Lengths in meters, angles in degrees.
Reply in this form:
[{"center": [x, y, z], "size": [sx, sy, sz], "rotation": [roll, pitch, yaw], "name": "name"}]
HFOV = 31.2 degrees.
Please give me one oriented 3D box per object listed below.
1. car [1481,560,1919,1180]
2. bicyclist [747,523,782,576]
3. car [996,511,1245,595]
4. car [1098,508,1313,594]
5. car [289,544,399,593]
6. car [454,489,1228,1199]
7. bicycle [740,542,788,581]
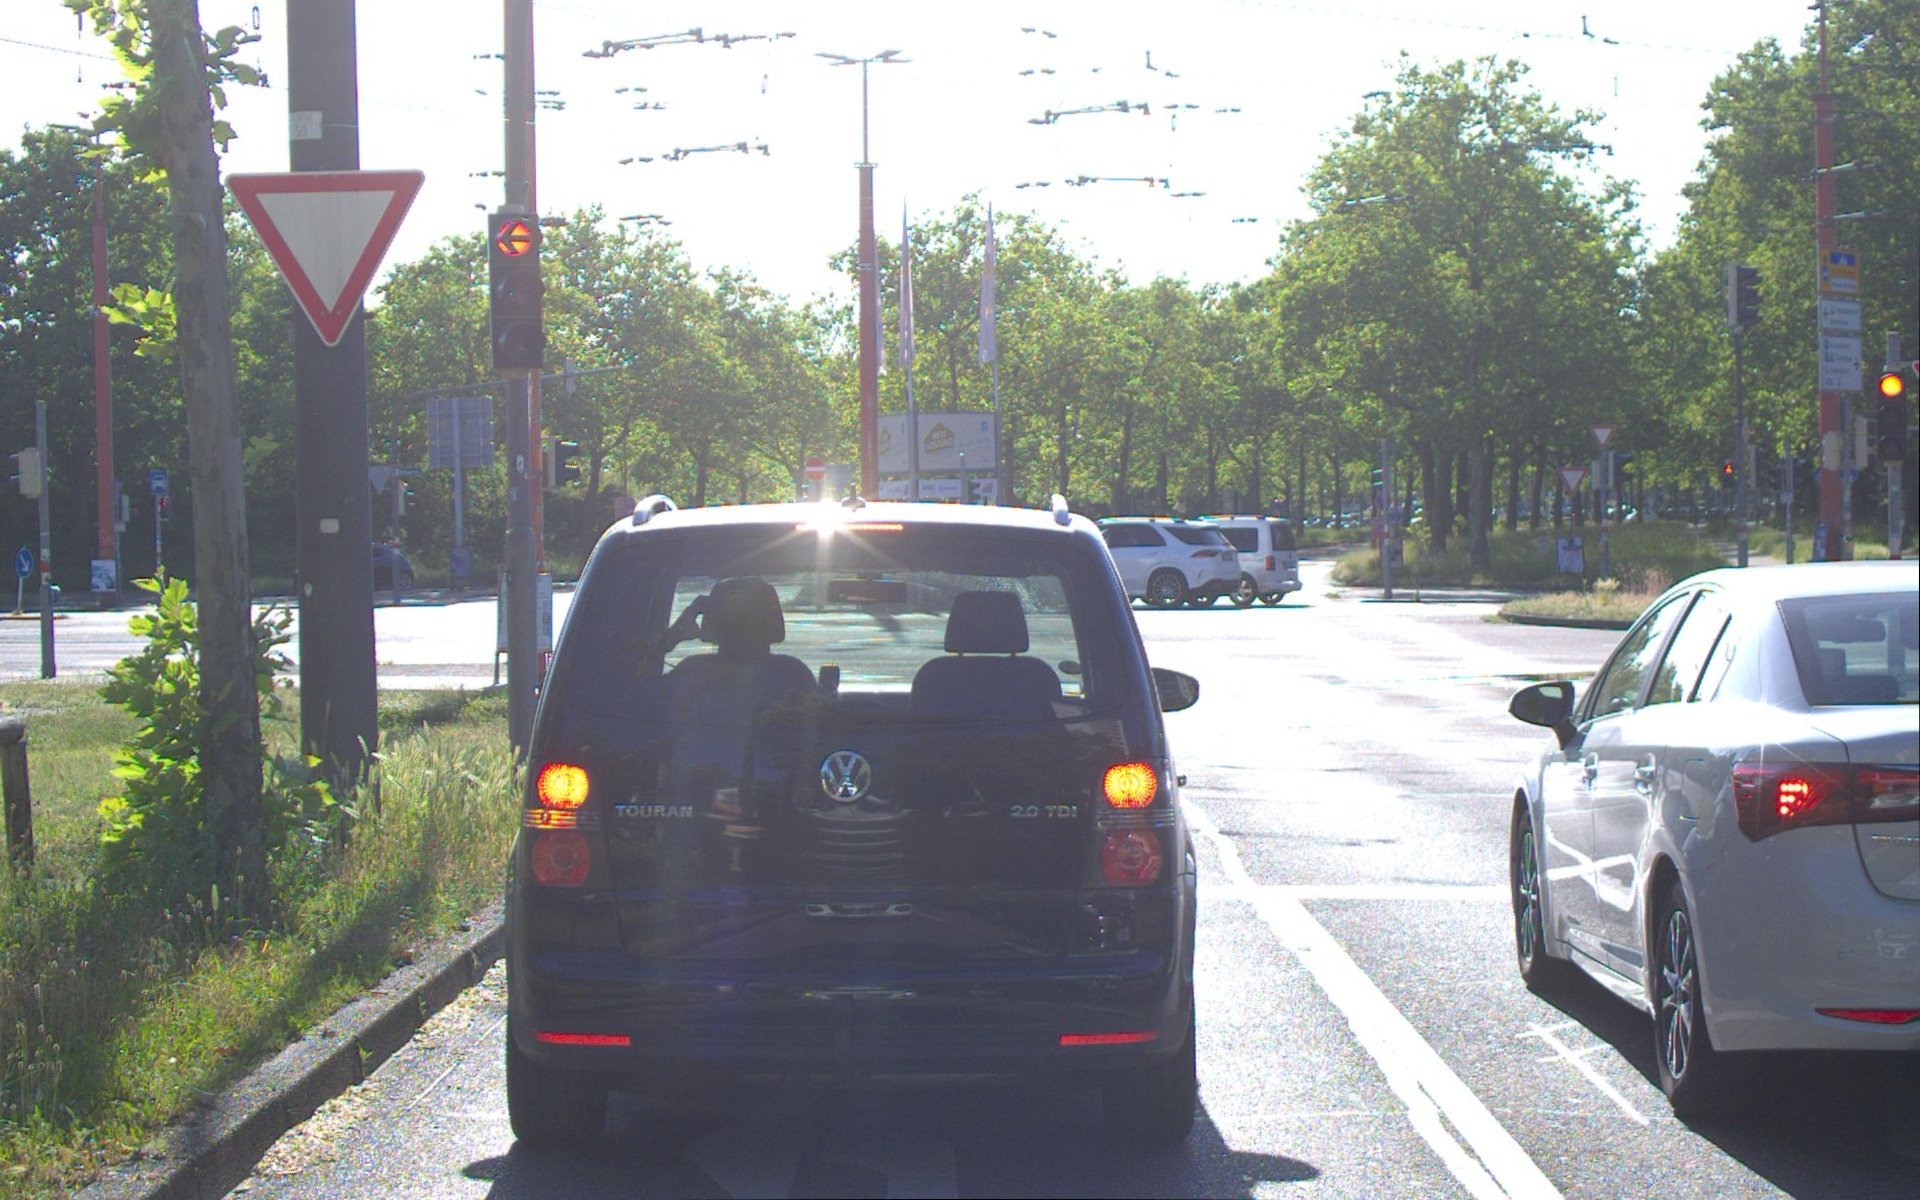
[{"center": [2.758, 0.617, 10.151], "size": [1.799, 1.435, 4.326], "rotation": [1, 1, 1], "name": "car"}, {"center": [-6.971, -1.799, 122.569], "size": [0.977, 1.897, 1.050], "rotation": [0, 1, 12], "name": "bicyclist"}, {"center": [3.183, -0.953, 68.417], "size": [4.666, 1.620, 1.654], "rotation": [1, 1, 26], "name": "car"}, {"center": [5.086, -1.033, 71.310], "size": [4.124, 1.744, 1.654], "rotation": [1, 1, 25], "name": "car"}, {"center": [-18.194, -0.953, 101.686], "size": [1.652, 1.398, 4.130], "rotation": [0, 1, 14], "name": "car"}, {"center": [-0.252, 0.536, 9.972], "size": [1.738, 1.597, 4.326], "rotation": [1, 1, 1], "name": "car"}, {"center": [-6.977, -1.385, 122.535], "size": [0.977, 1.384, 2.978], "rotation": [0, 1, 12], "name": "bicycle"}]
